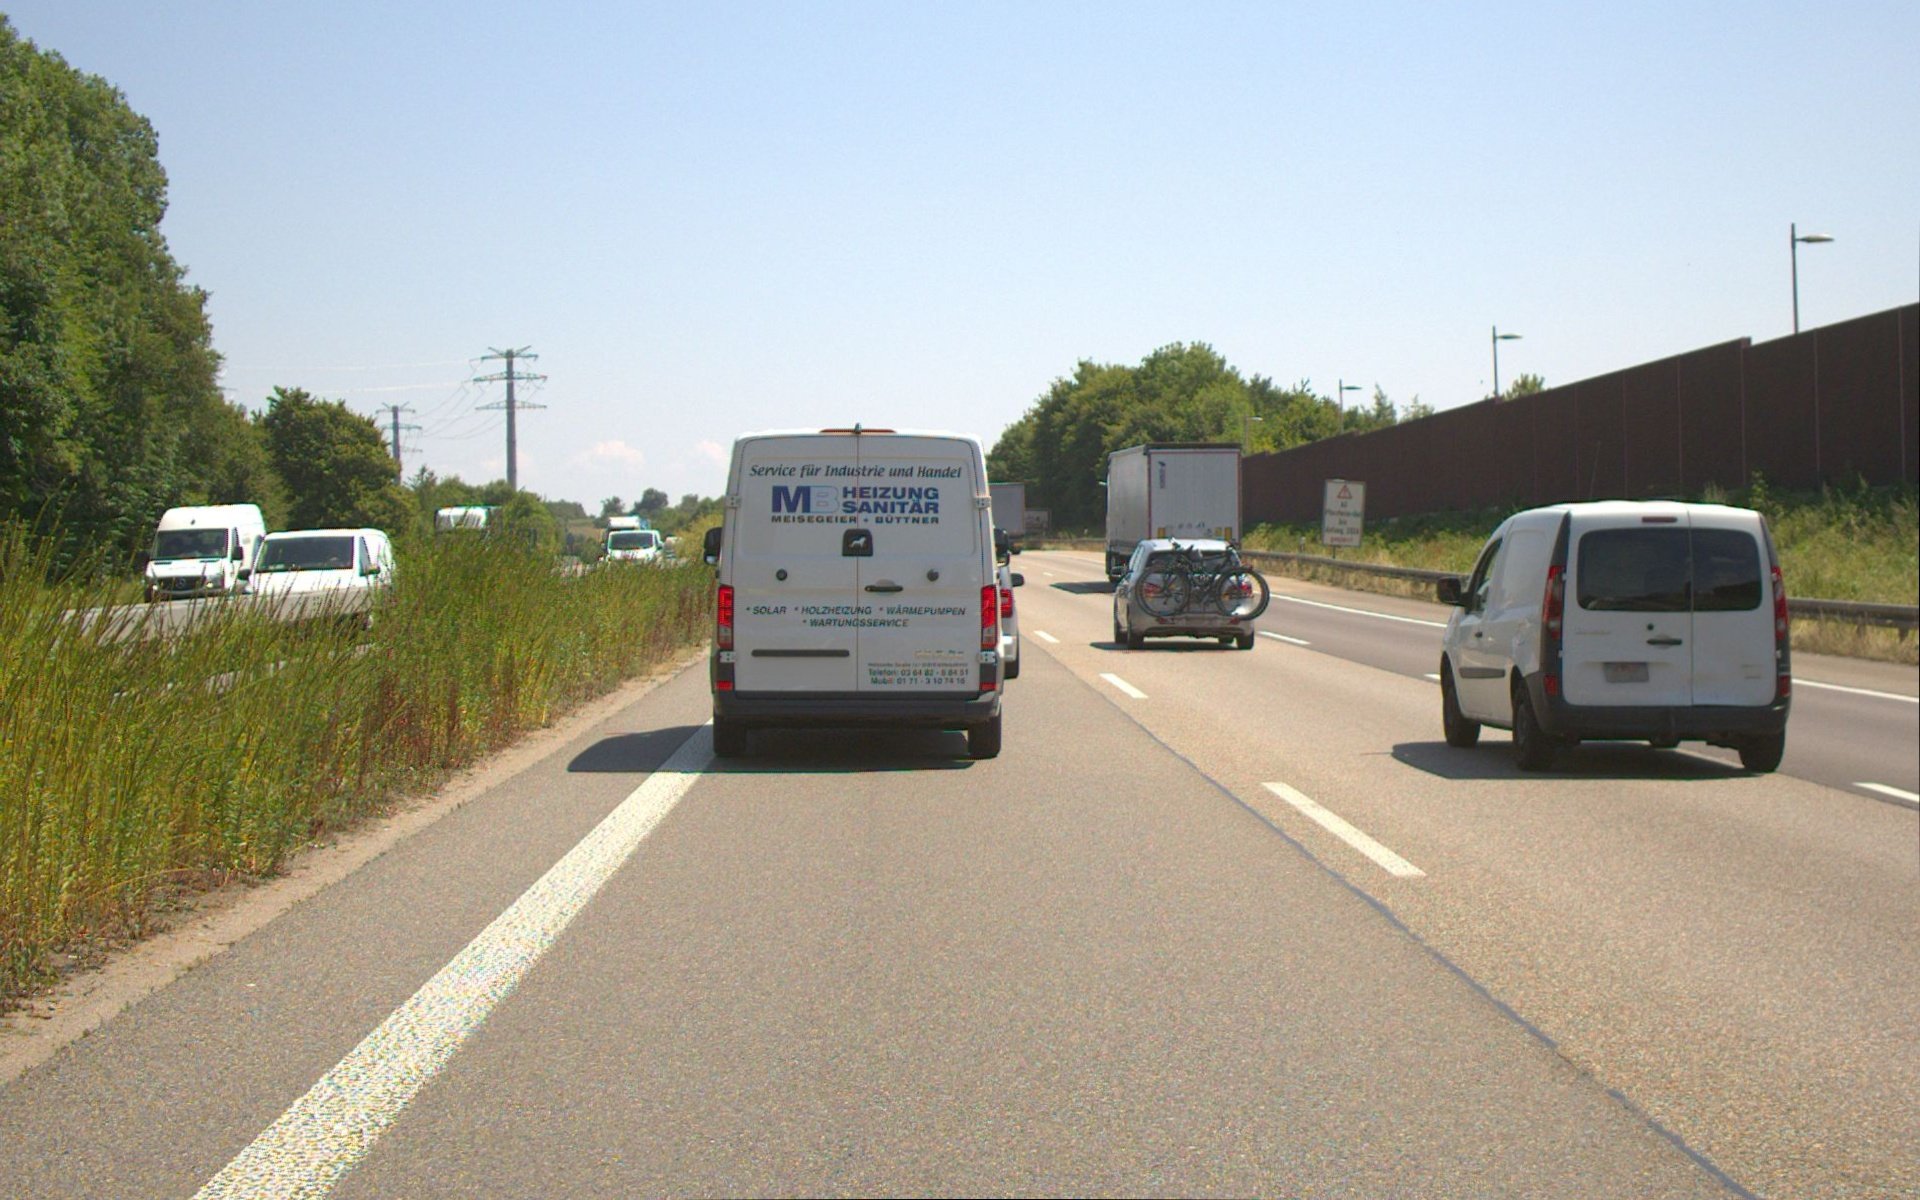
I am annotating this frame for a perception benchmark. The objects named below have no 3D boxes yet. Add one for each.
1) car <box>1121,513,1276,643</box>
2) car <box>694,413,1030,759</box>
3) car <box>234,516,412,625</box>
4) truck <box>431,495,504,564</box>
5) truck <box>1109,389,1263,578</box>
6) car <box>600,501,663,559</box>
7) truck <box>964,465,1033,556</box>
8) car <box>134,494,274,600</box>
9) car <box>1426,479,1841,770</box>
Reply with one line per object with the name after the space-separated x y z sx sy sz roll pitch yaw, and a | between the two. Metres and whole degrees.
3.332 -0.308 48.635 1.976 1.727 4.088 -1 0 1 | car
-0.810 -0.109 25.243 2.181 2.246 5.364 1 0 -4 | car
-10.054 -0.489 54.544 1.993 1.582 4.426 -2 1 -1 | car
-20.230 -2.874 141.483 1.993 2.732 5.858 1 0 1 | truck
6.348 -3.178 98.805 3.788 4.983 12.518 1 0 1 | truck
-11.840 -2.521 124.162 1.993 2.007 4.001 -1 1 -2 | car
2.304 -5.109 199.474 3.788 4.983 12.518 1 0 1 | truck
-17.627 -1.255 80.407 2.124 2.331 5.085 -2 1 -1 | car
4.597 0.145 24.107 1.950 1.831 4.178 -1 0 -2 | car
